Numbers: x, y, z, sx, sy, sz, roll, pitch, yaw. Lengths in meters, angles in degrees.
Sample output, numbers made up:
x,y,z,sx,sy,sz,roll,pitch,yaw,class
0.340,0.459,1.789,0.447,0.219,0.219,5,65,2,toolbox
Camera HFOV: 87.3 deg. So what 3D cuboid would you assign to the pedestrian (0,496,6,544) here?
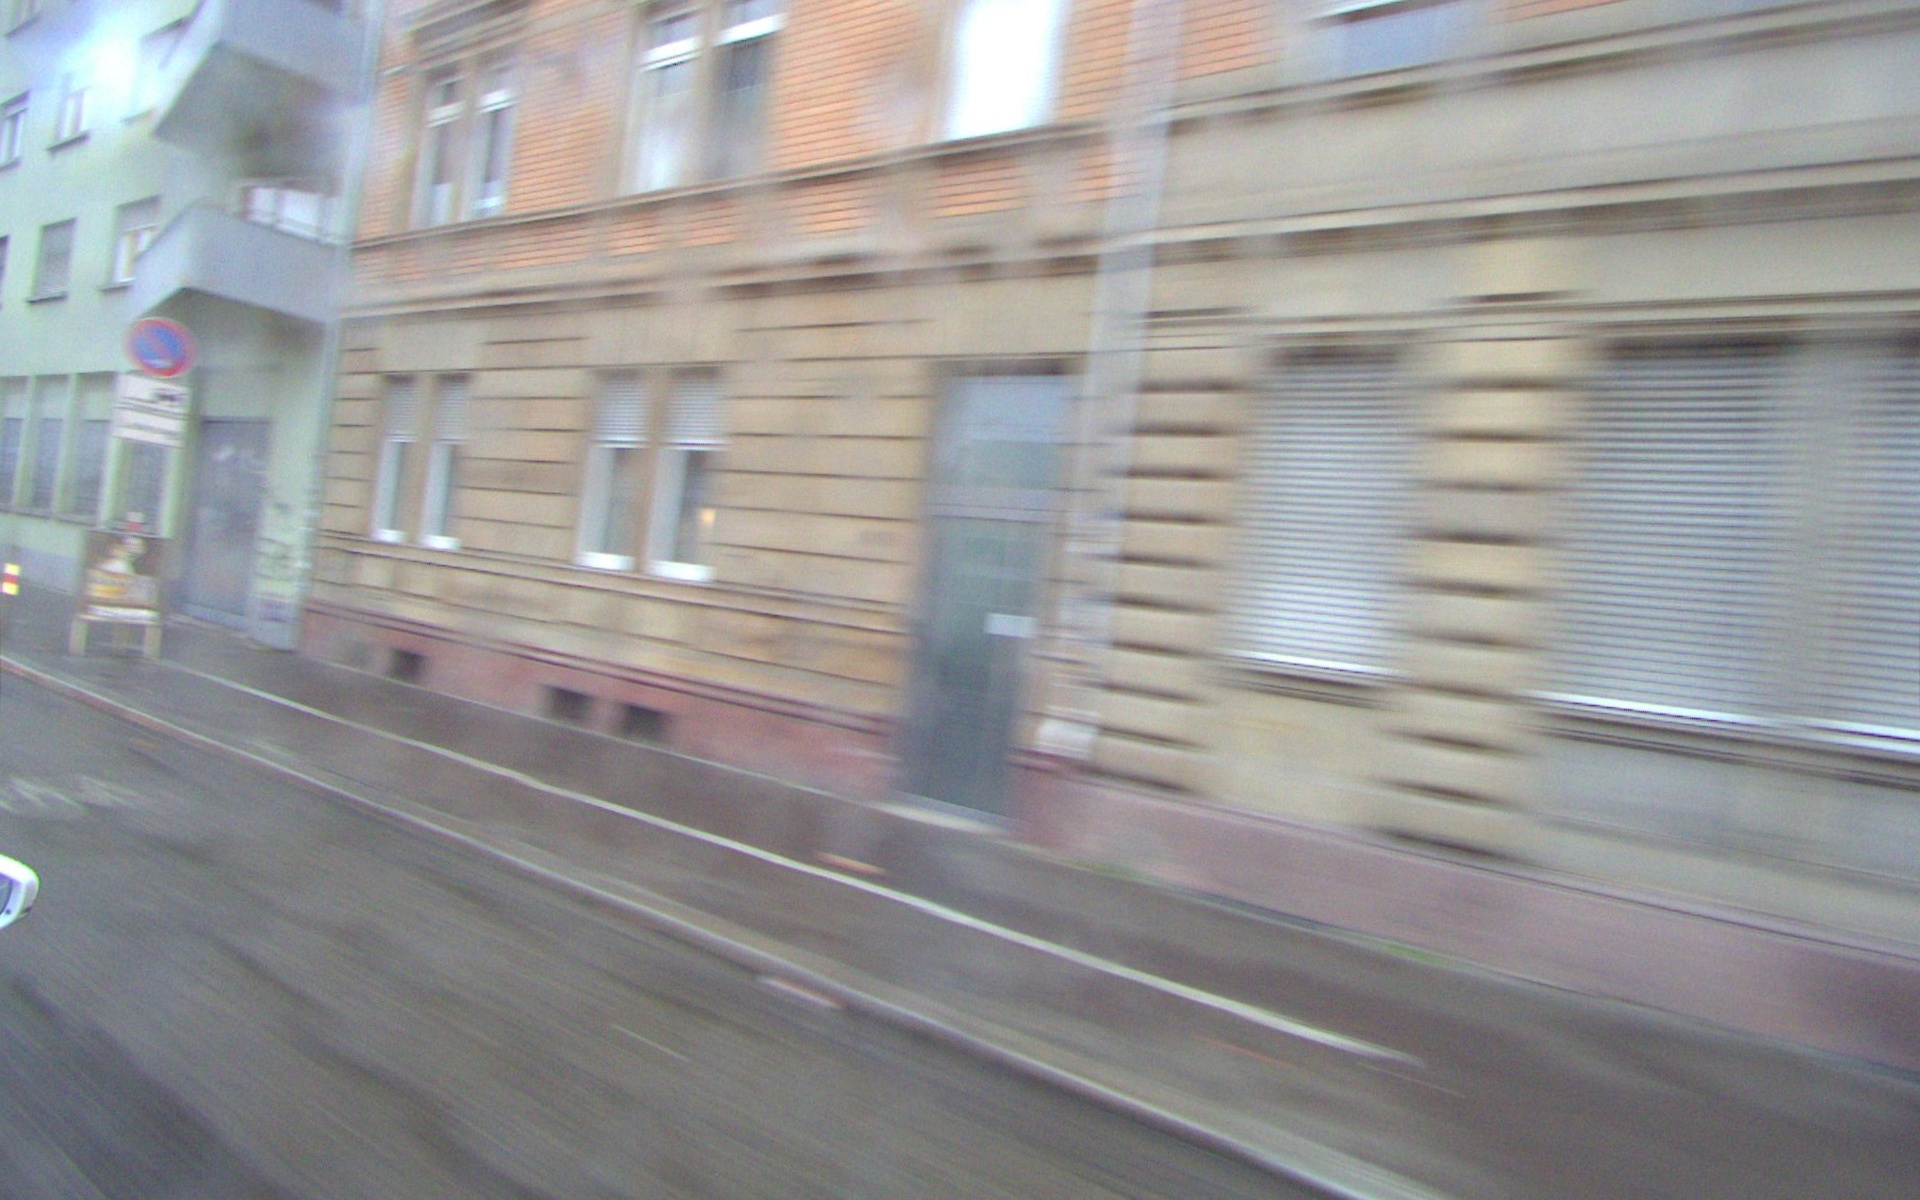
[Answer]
x,y,z,sx,sy,sz,roll,pitch,yaw,class
-17.025,-1.147,17.311,0.716,1.393,0.601,7,-1,31,pedestrian
